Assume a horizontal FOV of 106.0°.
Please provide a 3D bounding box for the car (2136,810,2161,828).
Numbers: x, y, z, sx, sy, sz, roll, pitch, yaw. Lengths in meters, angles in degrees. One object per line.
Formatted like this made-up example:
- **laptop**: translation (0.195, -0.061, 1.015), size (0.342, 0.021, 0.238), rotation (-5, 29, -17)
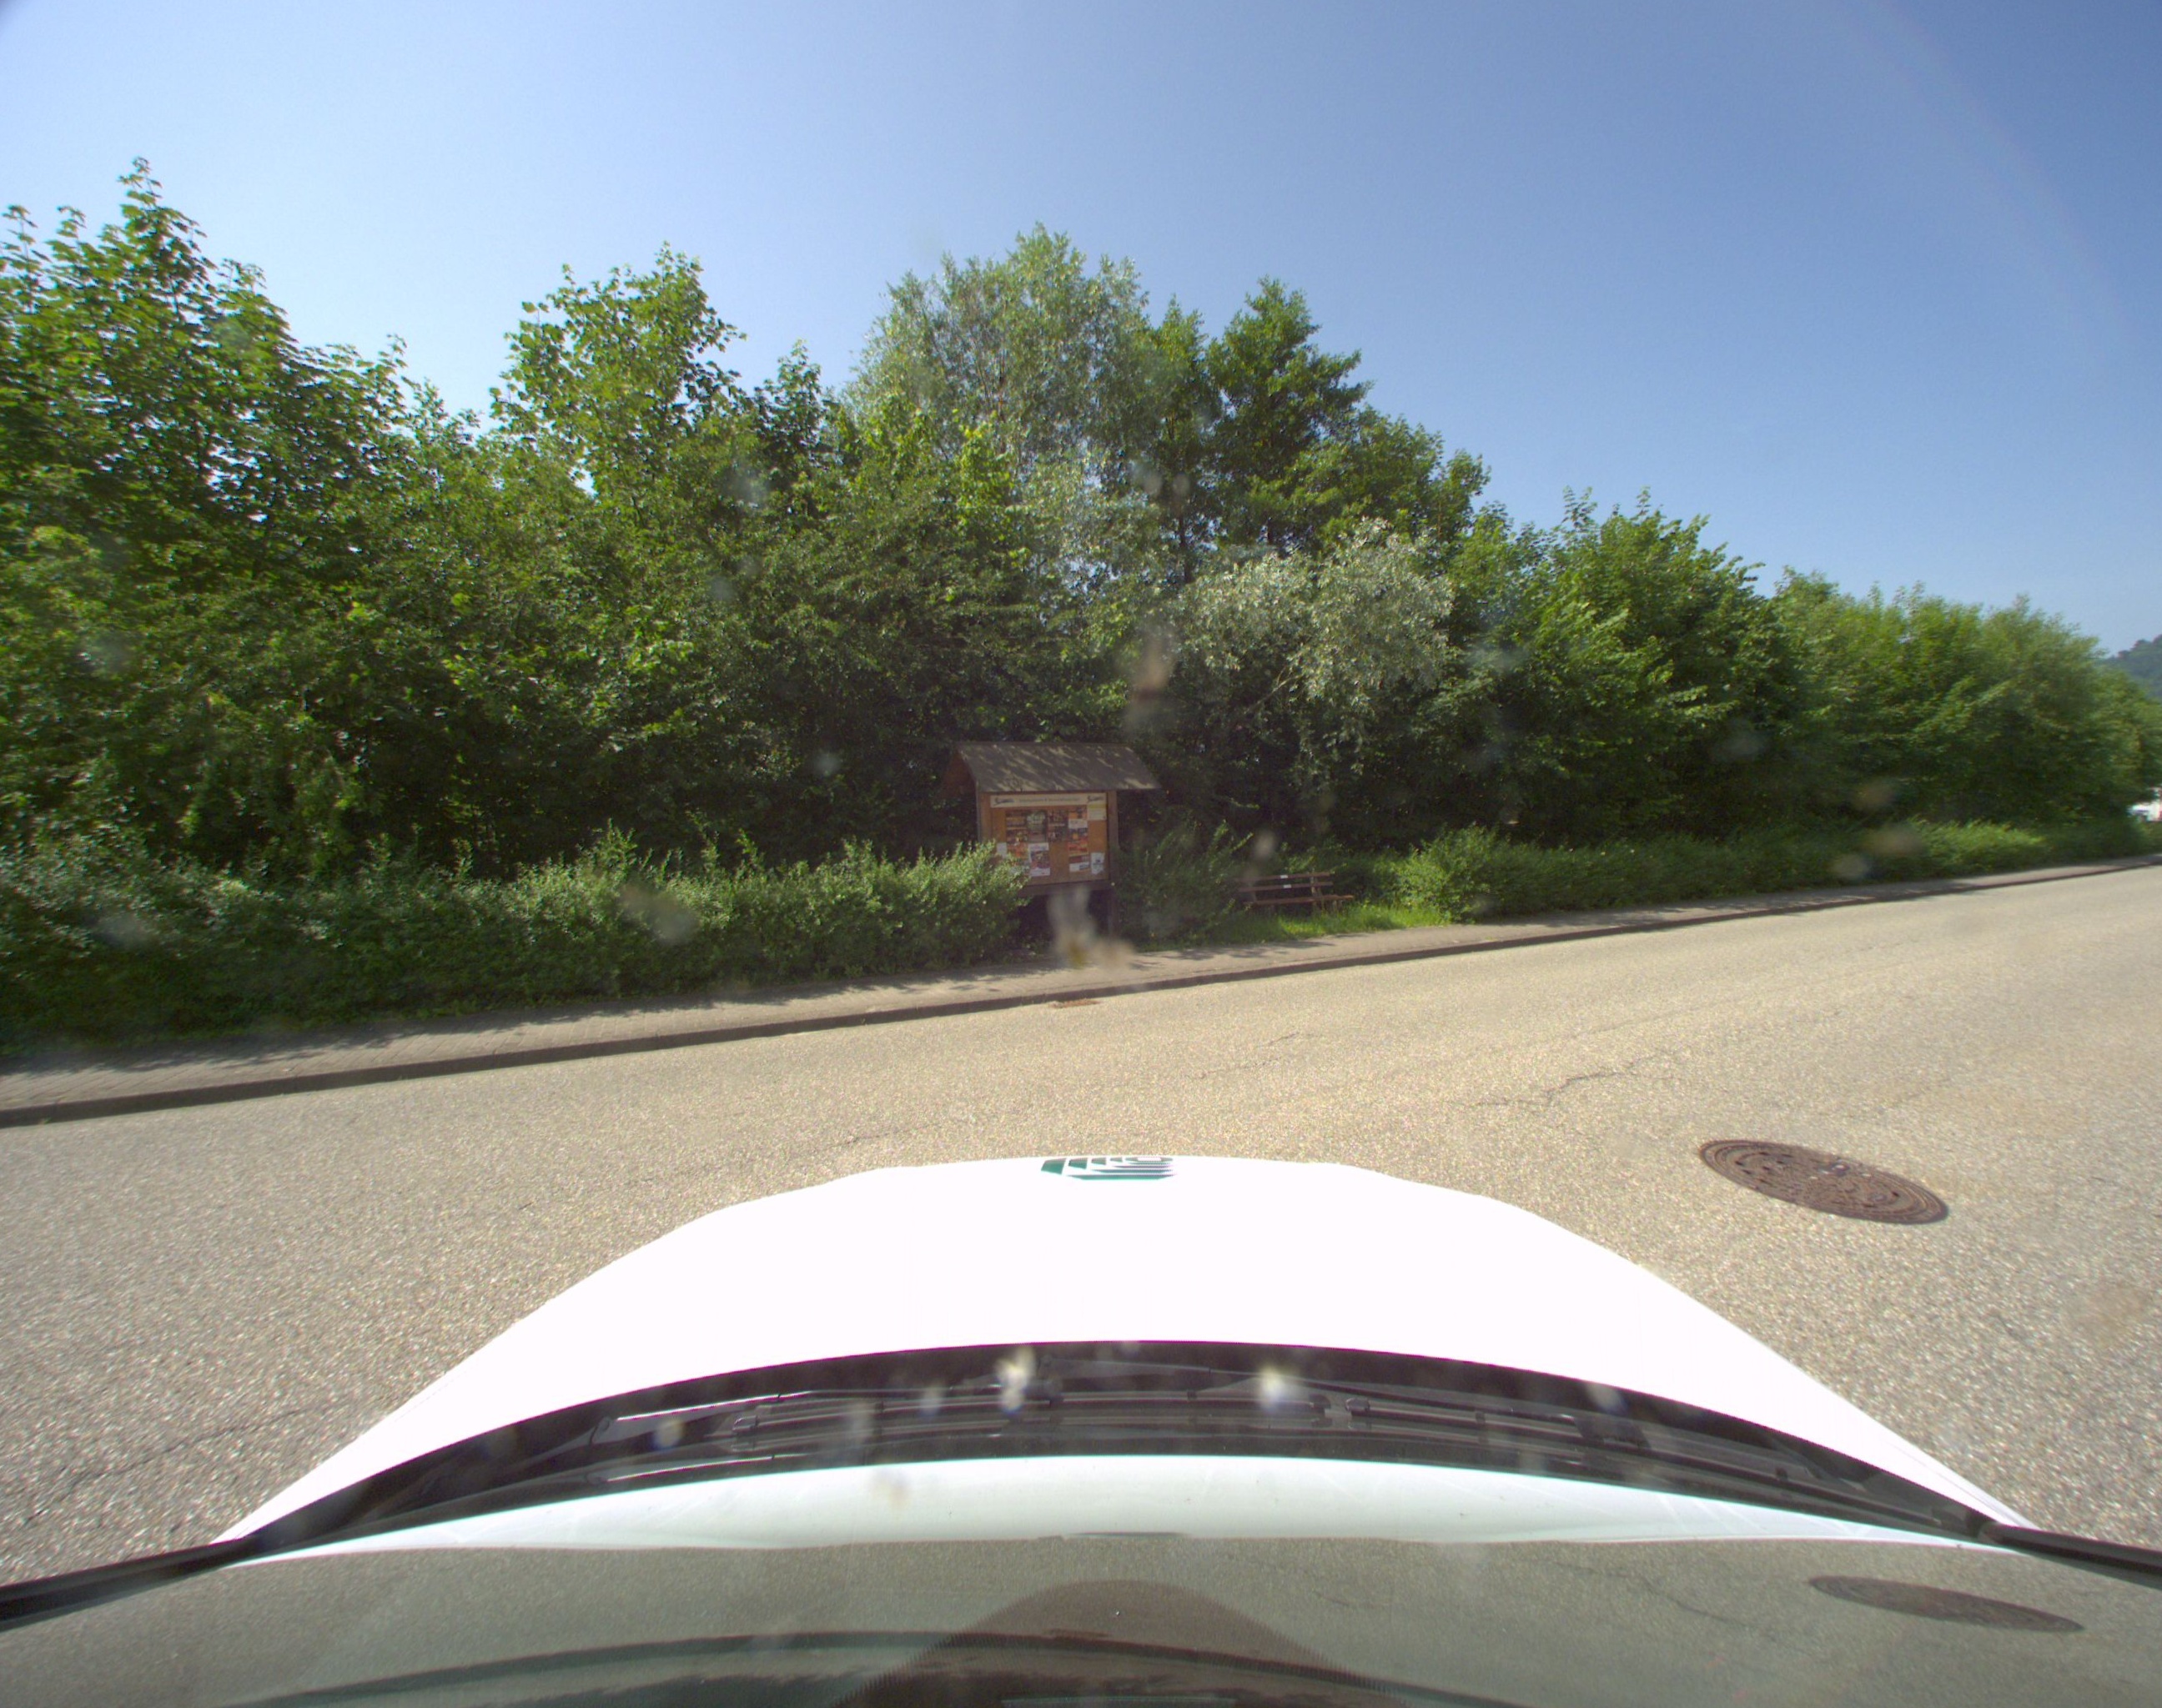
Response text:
- **car**: translation (127.196, -4.192, 96.554), size (4.023, 1.882, 1.975), rotation (0, -3, -44)
